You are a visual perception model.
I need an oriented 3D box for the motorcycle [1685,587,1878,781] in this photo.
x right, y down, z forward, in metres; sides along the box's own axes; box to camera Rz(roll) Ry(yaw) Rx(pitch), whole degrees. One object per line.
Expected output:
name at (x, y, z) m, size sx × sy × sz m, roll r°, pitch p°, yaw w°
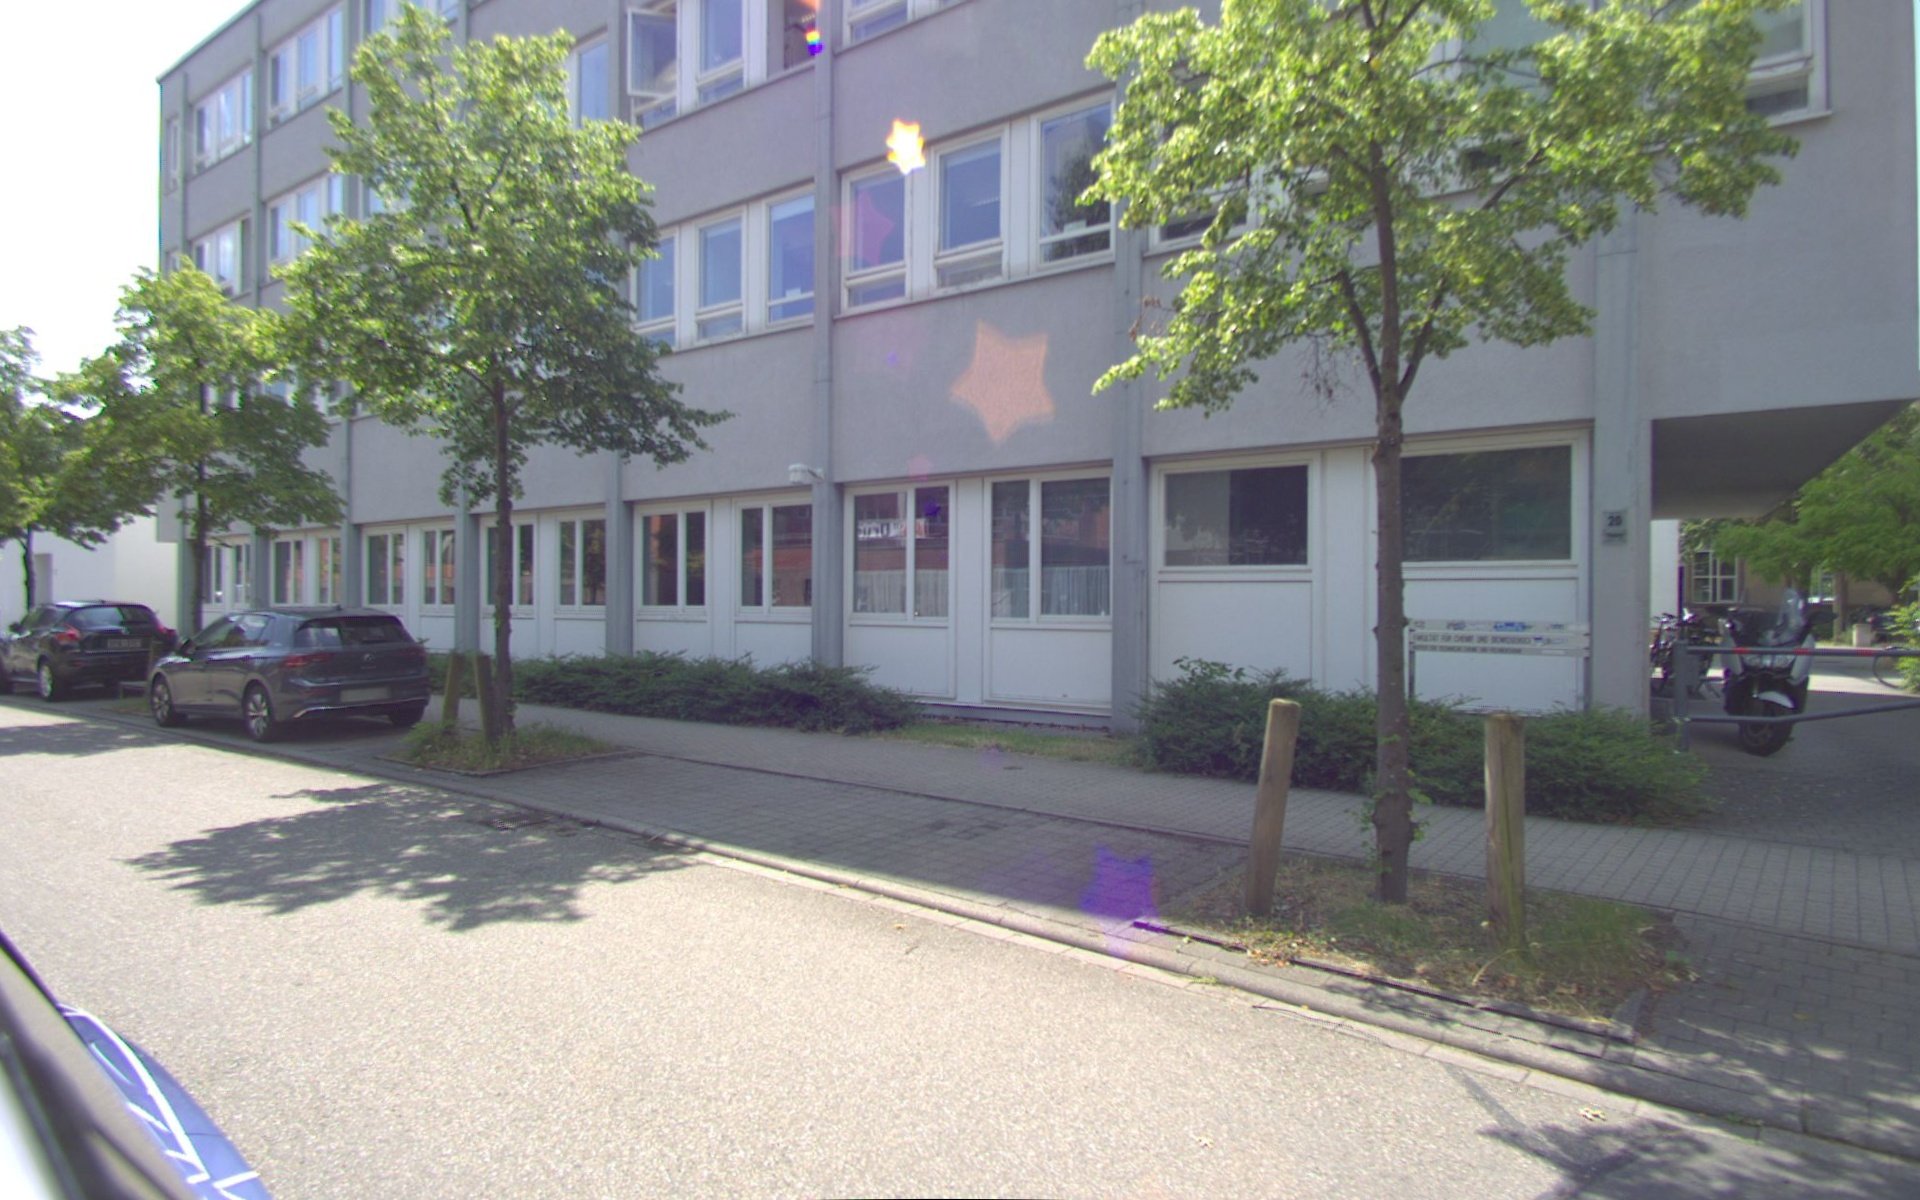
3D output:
motorcycle at (7.490, 0.688, 9.364) m, size 1.078 × 1.562 × 2.080 m, roll 0°, pitch -1°, yaw 31°

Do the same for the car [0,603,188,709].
car at (-14.770, 0.850, 16.922) m, size 4.055 × 1.576 × 1.683 m, roll 0°, pitch -1°, yaw 33°

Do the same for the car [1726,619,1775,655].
car at (36.007, 1.661, 46.163) m, size 1.625 × 1.544 × 3.951 m, roll 0°, pitch -1°, yaw 36°

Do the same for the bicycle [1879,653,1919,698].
bicycle at (16.241, 1.270, 16.875) m, size 1.337 × 0.716 × 0.439 m, roll 0°, pitch -1°, yaw 44°

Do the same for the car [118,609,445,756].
car at (-8.278, 0.859, 12.250) m, size 4.246 × 1.472 × 1.764 m, roll 0°, pitch 0°, yaw 33°

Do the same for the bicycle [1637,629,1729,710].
bicycle at (10.889, 1.012, 15.218) m, size 1.862 × 1.130 × 0.583 m, roll 1°, pitch -1°, yaw -37°

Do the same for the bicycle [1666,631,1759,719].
bicycle at (10.632, 1.021, 14.271) m, size 2.017 × 1.130 × 0.524 m, roll 1°, pitch -1°, yaw -38°
